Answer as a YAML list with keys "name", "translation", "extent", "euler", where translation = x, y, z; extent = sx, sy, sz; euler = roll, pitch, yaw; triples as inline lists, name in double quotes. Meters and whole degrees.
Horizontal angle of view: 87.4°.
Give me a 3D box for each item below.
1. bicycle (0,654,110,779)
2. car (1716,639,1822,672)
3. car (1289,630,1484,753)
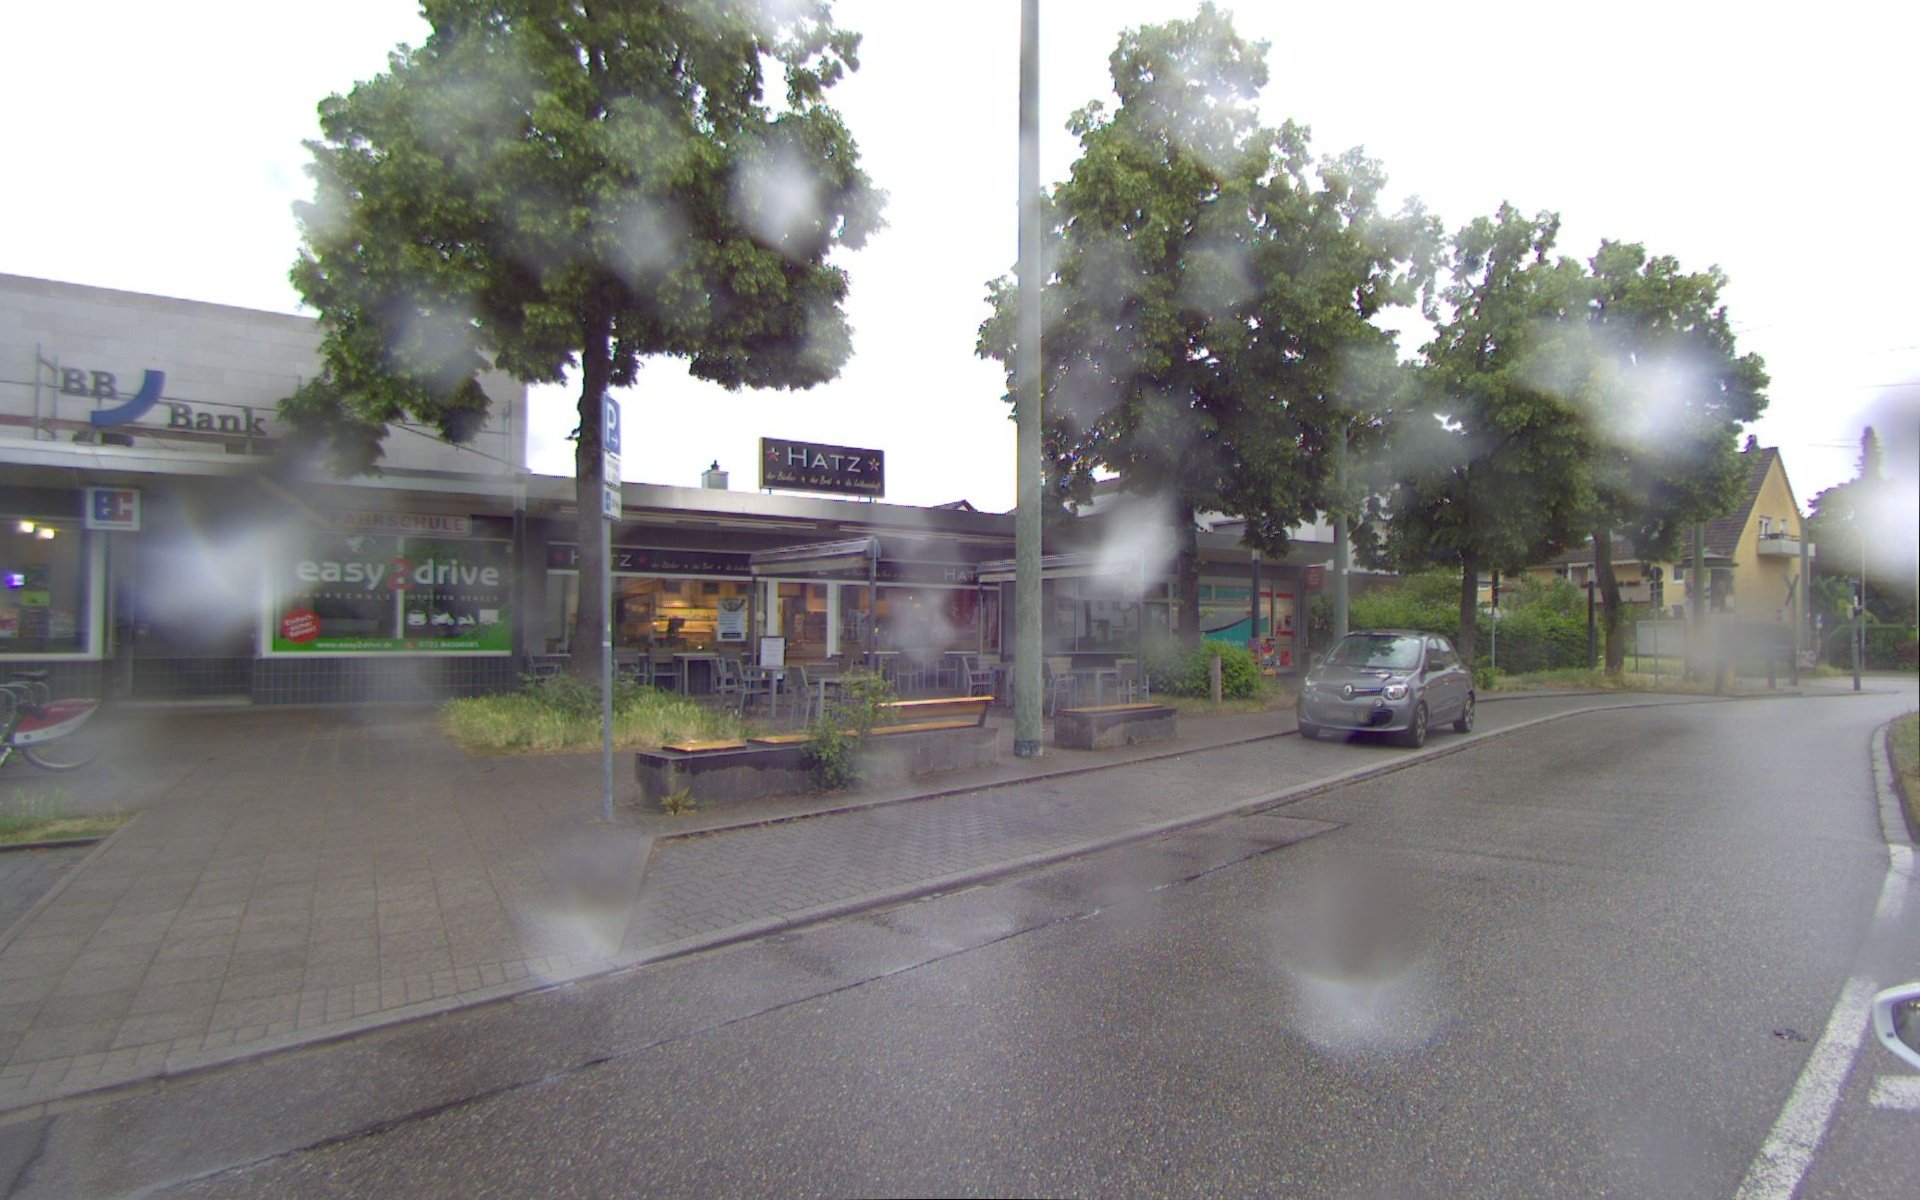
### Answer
- name: "bicycle"
  translation: [-9.002, 1.079, 9.254]
  extent: [0.314, 1.122, 1.739]
  euler: [2, 0, 43]
- name: "car"
  translation: [41.960, 2.850, 52.185]
  extent: [1.815, 1.476, 3.960]
  euler: [2, 0, -35]
- name: "car"
  translation: [6.378, 1.236, 14.825]
  extent: [1.598, 1.516, 3.649]
  euler: [2, 0, 40]
